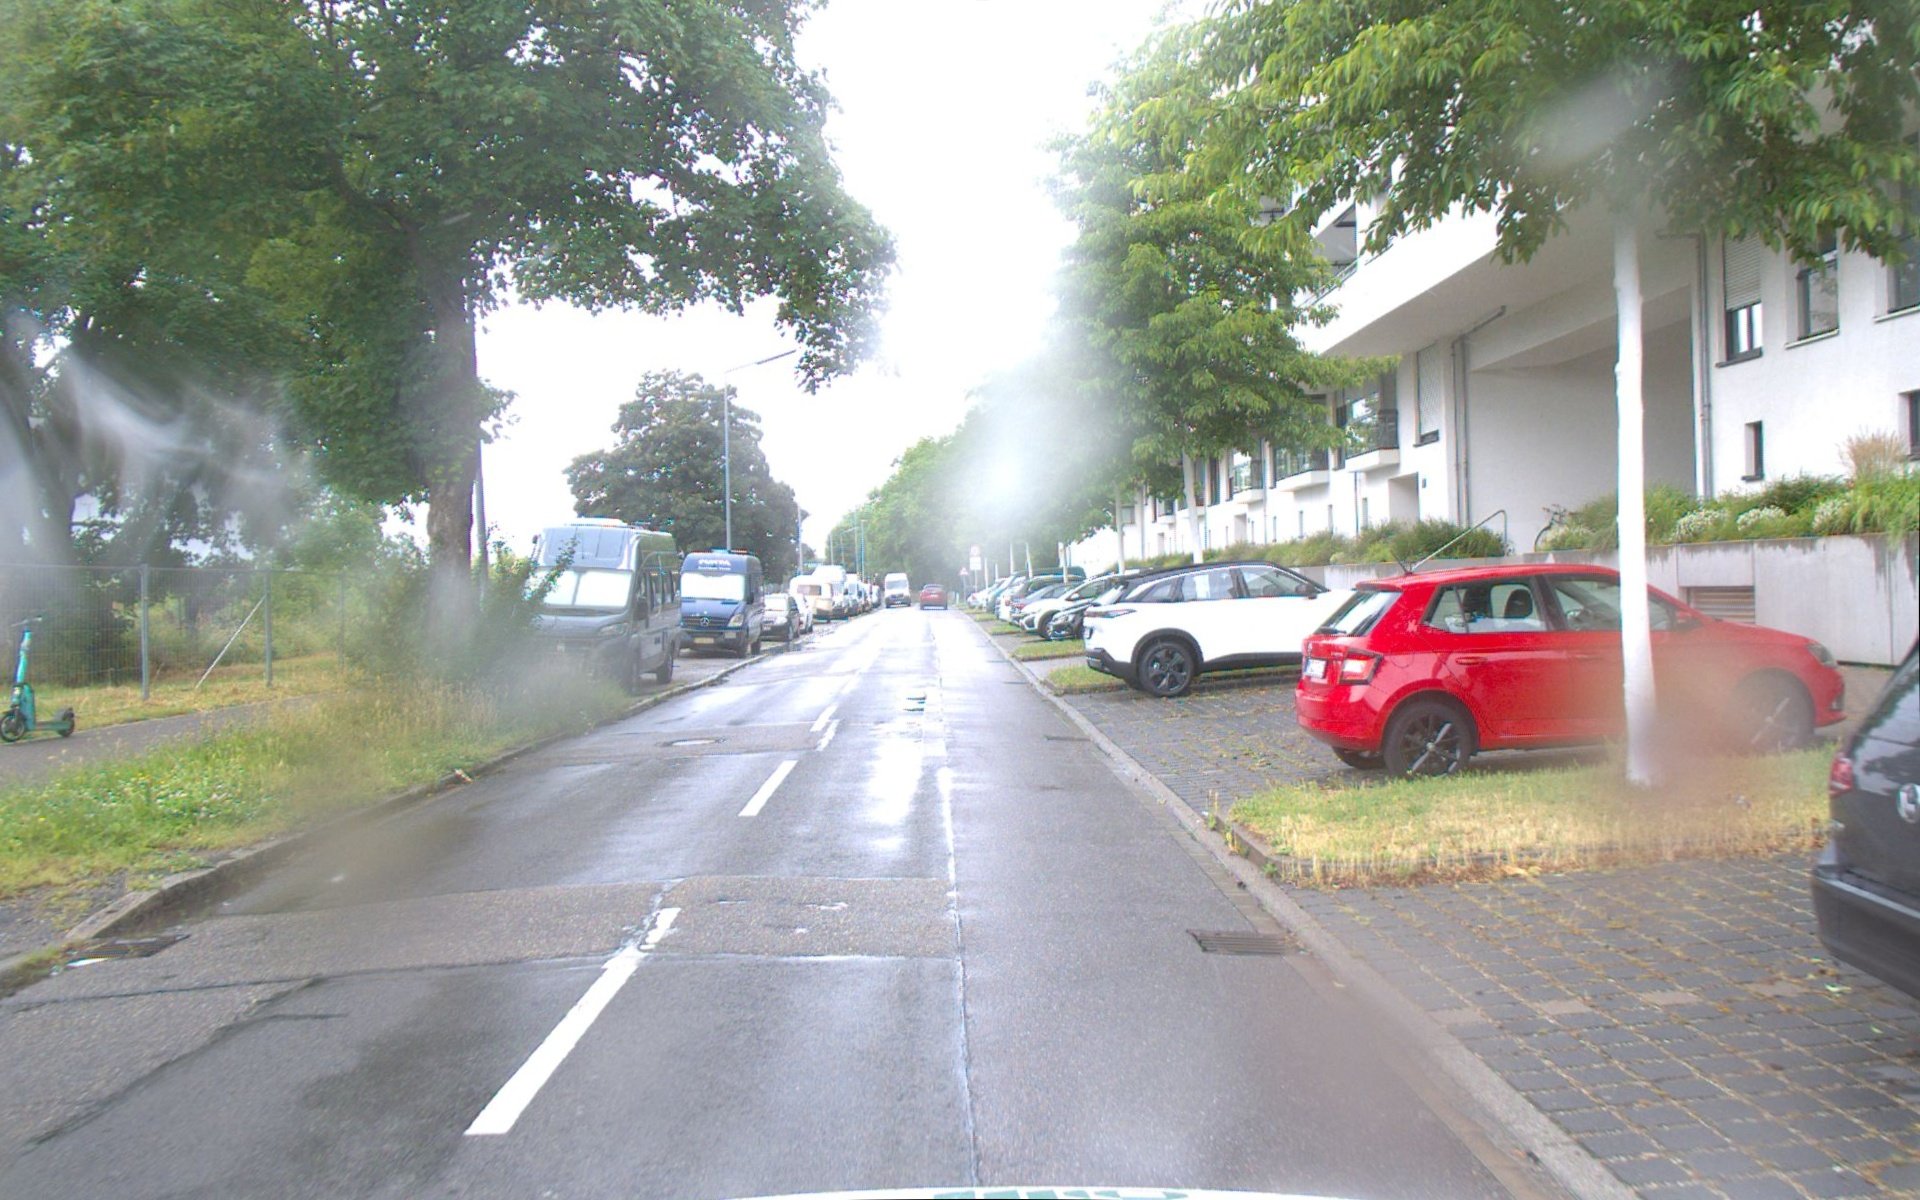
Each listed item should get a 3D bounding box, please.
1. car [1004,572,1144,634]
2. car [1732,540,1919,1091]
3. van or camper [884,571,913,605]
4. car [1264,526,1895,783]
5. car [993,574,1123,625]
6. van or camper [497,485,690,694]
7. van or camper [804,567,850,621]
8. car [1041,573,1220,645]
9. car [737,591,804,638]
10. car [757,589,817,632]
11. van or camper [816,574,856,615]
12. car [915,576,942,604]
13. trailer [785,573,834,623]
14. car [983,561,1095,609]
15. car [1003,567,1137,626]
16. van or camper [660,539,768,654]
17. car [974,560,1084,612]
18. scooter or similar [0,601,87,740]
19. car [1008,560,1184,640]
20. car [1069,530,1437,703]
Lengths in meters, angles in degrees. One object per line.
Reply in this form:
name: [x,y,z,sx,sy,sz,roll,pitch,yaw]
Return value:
car: [3.341,0.077,48.912,3.907,1.536,1.684,-4,1,-2]
car: [4.531,0.560,4.780,3.878,1.500,1.591,-1,0,-4]
van or camper: [-4.901,-0.919,131.759,1.953,2.540,7.177,-3,0,0]
car: [4.429,0.383,12.257,3.907,1.476,1.820,-4,-1,-2]
car: [3.335,-0.029,56.520,4.214,1.453,1.636,-4,0,-3]
van or camper: [-6.104,-0.152,28.389,2.052,3.148,6.421,1,0,-2]
van or camper: [-7.267,-0.336,91.116,1.953,2.810,7.897,0,0,-1]
car: [3.999,0.186,39.155,3.909,1.521,1.935,-2,1,-5]
car: [-6.355,0.458,55.790,1.738,1.529,4.827,0,0,-1]
car: [-6.512,0.370,62.658,1.849,1.552,5.108,1,0,-2]
van or camper: [-7.913,-0.367,106.145,2.145,2.504,6.376,0,0,-1]
car: [-2.094,-0.667,110.738,1.721,1.735,3.999,-2,0,-1]
trailer: [-7.105,-0.120,78.486,2.017,2.256,5.792,0,0,-3]
car: [2.938,-0.555,61.919,3.952,1.525,1.630,-4,0,-4]
car: [3.563,-0.122,54.104,4.080,1.652,1.896,-4,0,-4]
van or camper: [-6.419,-0.077,44.028,2.052,2.763,7.570,1,0,-3]
car: [2.962,-0.608,71.325,4.527,2.055,1.857,-2,0,-4]
scooter or similar: [-9.584,0.700,17.020,0.426,1.363,1.411,-2,0,-1]
car: [3.611,-0.020,44.479,4.388,1.716,1.935,-5,1,-3]
car: [3.882,0.203,22.404,4.452,1.714,1.884,-7,0,-4]
